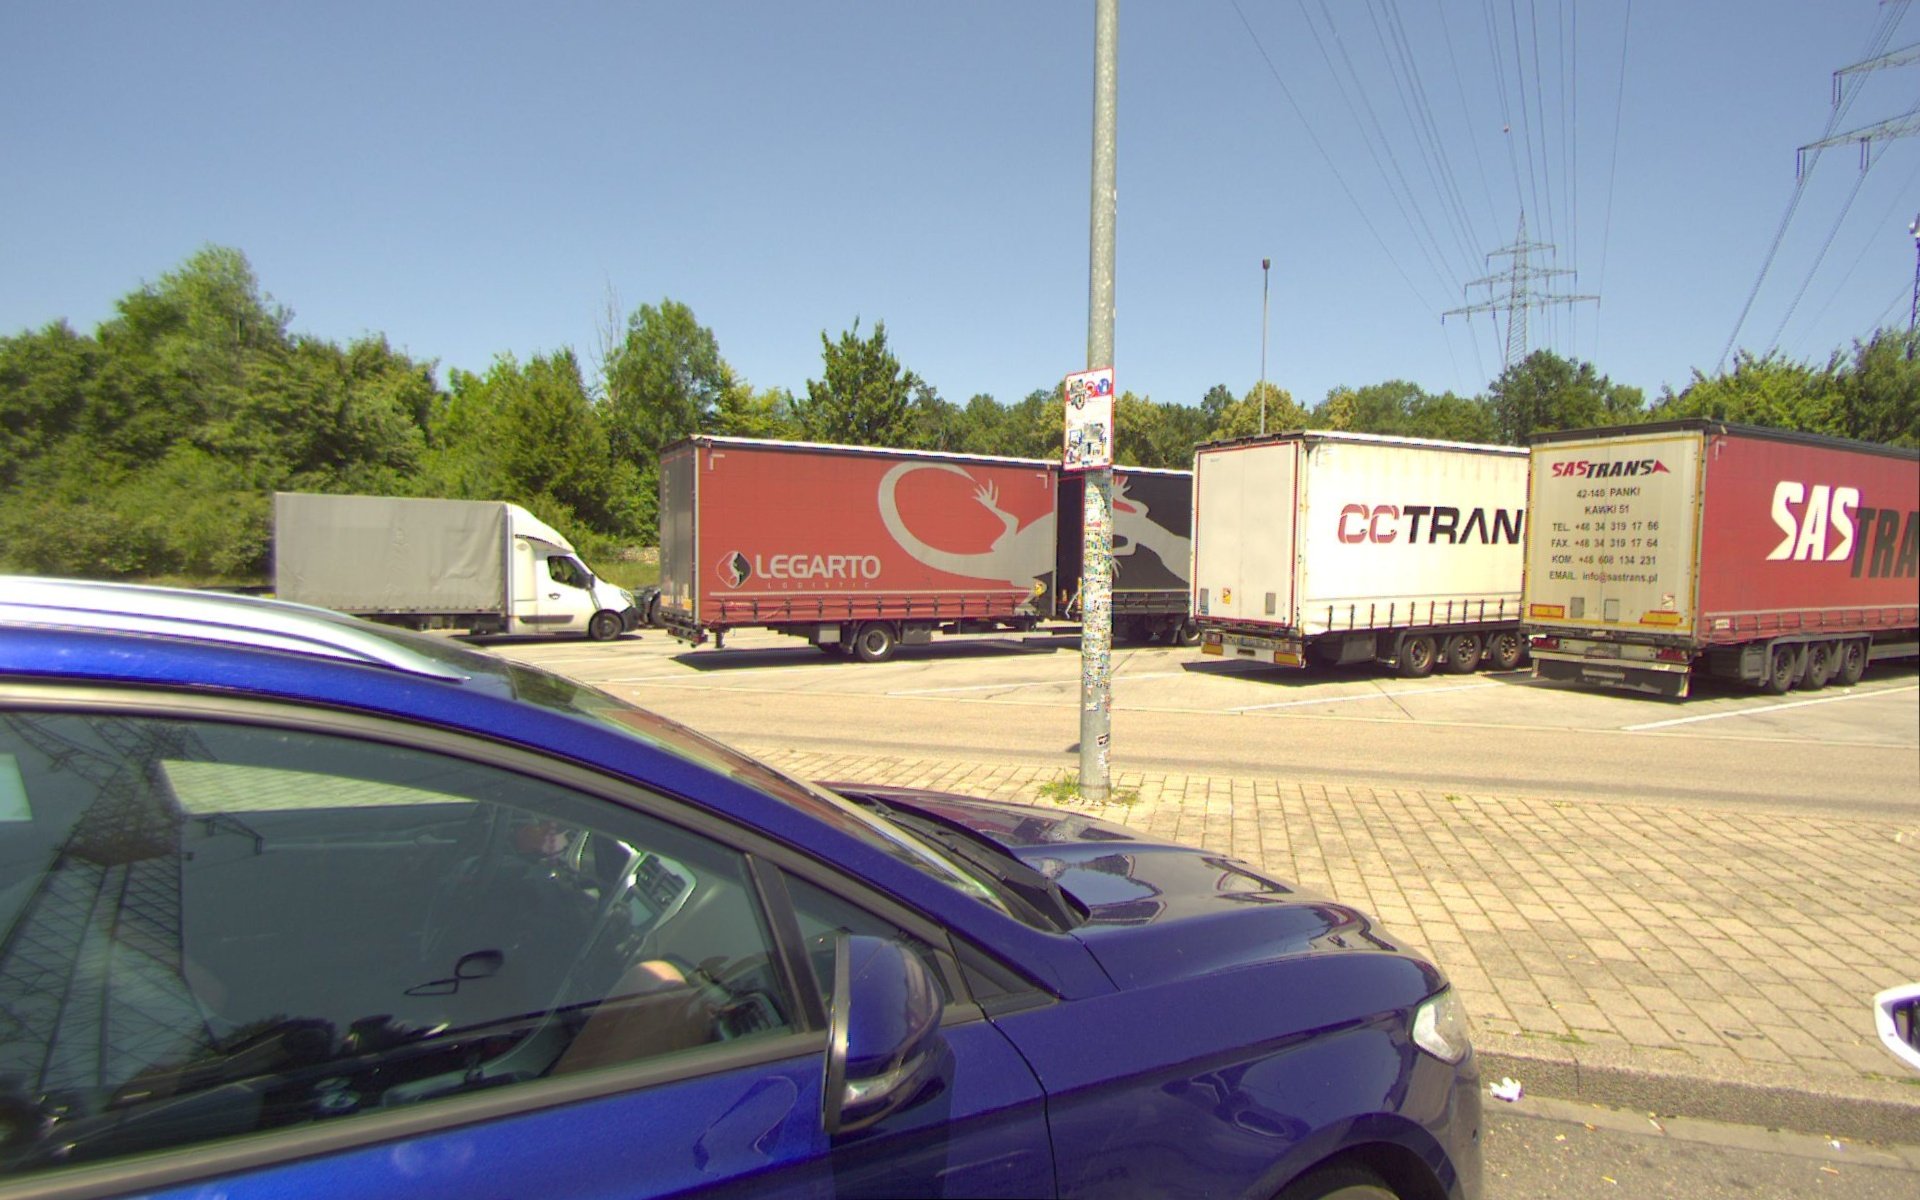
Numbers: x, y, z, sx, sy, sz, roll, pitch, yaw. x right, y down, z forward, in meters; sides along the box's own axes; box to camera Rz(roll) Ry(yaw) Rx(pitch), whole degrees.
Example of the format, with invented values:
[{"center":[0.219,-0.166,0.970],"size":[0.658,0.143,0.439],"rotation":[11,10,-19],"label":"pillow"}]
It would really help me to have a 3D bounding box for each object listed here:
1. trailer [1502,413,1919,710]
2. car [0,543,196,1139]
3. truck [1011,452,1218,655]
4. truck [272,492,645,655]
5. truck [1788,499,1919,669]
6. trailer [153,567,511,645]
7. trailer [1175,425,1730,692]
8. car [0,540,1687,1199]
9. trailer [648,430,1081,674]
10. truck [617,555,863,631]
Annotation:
[{"center":[15.610,-0.692,18.727],"size":[13.962,4.141,2.777],"rotation":[-1,3,-30],"label":"trailer"},{"center":[-4.610,0.603,2.230],"size":[4.444,1.520,1.762],"rotation":[0,2,-32],"label":"car"},{"center":[3.573,-1.065,23.453],"size":[3.947,4.298,2.723],"rotation":[-1,3,-30],"label":"truck"},{"center":[-11.186,-0.623,23.029],"size":[7.204,3.279,2.727],"rotation":[-1,3,-29],"label":"truck"},{"center":[21.213,-0.394,22.004],"size":[5.829,3.373,2.837],"rotation":[-1,3,-30],"label":"truck"},{"center":[-15.161,0.058,24.898],"size":[7.204,1.711,2.249],"rotation":[-1,3,-29],"label":"trailer"},{"center":[10.590,-0.800,20.339],"size":[13.962,4.141,2.782],"rotation":[-1,3,-30],"label":"trailer"},{"center":[-1.034,0.680,1.497],"size":[4.444,1.511,1.859],"rotation":[0,2,-32],"label":"car"},{"center":[-1.740,-0.899,20.332],"size":[8.376,4.141,2.722],"rotation":[-1,3,-30],"label":"trailer"},{"center":[-6.343,-0.228,29.278],"size":[6.733,2.041,1.987],"rotation":[-1,1,-26],"label":"truck"}]
